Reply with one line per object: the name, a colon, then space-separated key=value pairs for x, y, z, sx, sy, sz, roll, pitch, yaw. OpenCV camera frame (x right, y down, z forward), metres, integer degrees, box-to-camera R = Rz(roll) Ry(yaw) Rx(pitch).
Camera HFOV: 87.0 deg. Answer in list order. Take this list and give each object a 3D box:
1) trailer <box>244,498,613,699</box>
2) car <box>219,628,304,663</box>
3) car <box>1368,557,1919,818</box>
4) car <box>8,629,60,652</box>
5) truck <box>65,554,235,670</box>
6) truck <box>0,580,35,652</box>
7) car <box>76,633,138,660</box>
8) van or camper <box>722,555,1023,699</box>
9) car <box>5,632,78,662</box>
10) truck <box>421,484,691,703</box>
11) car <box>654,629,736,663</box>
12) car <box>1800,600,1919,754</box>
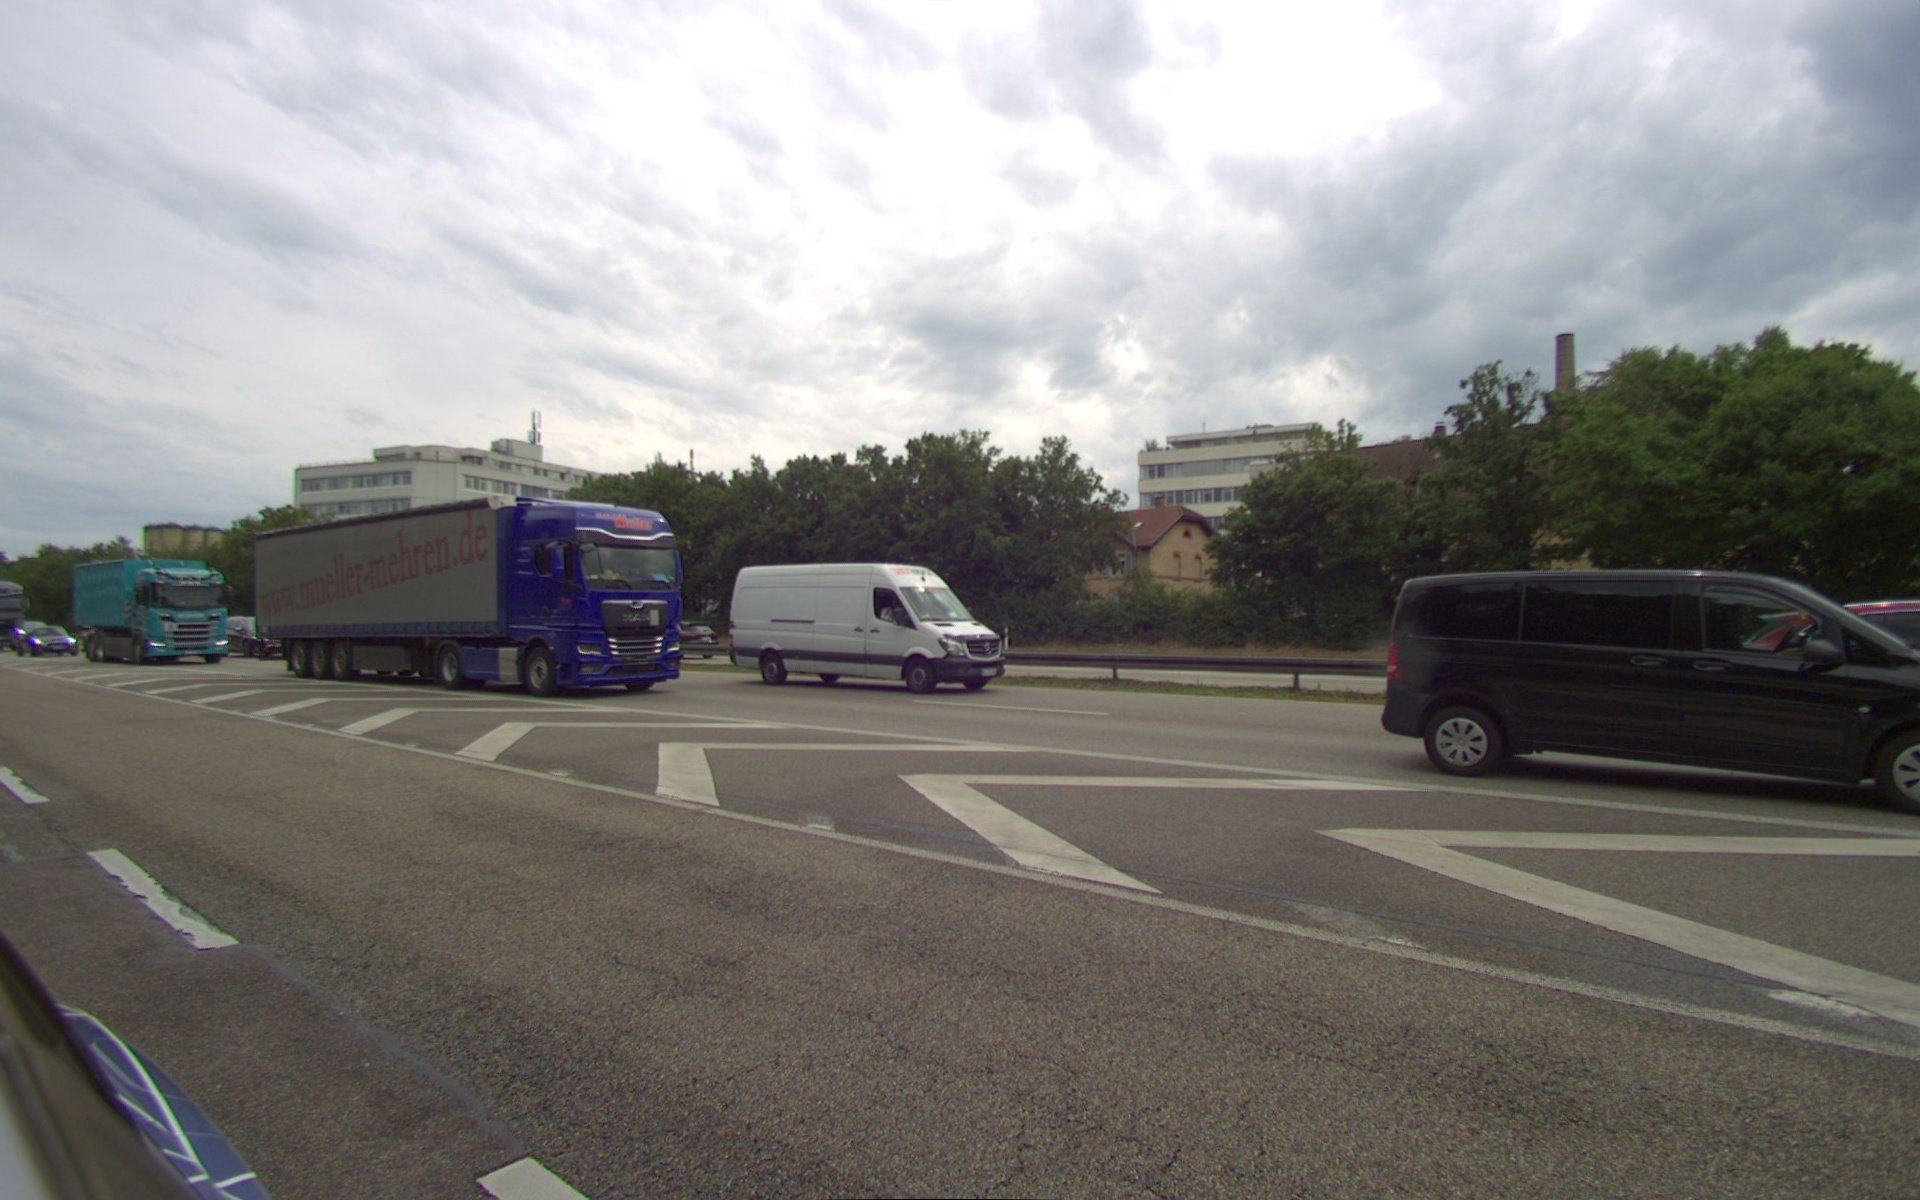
trailer: x=-13.920 y=0.126 z=25.422 sx=13.898 sy=4.005 sz=2.648 roll=-1 pitch=-2 yaw=38
car: x=-30.221 y=1.945 z=43.733 sx=3.994 sy=1.444 sz=1.875 roll=-1 pitch=-2 yaw=37
car: x=6.384 y=0.665 z=8.902 sx=4.807 sy=1.865 sz=1.973 roll=-2 pitch=-2 yaw=40
car: x=-60.949 y=2.634 z=66.614 sx=3.243 sy=1.494 sz=1.975 roll=-1 pitch=-2 yaw=37
truck: x=-31.562 y=0.543 z=39.235 sx=10.106 sy=4.031 sz=2.668 roll=-1 pitch=-2 yaw=37
truck: x=-58.249 y=1.015 z=59.507 sx=13.122 sy=3.955 sz=3.289 roll=-1 pitch=-2 yaw=37
car: x=-48.865 y=2.642 z=57.973 sx=4.049 sy=1.444 sz=1.875 roll=-1 pitch=-2 yaw=37
van or camper: x=-2.070 y=0.588 z=21.589 sx=6.948 sy=2.641 sz=2.029 roll=-1 pitch=-2 yaw=39
car: x=-43.461 y=2.204 z=47.876 sx=3.991 sy=1.332 sz=1.737 roll=-1 pitch=-2 yaw=35
truck: x=-8.606 y=-0.038 z=21.309 sx=5.918 sy=3.991 sz=2.643 roll=-1 pitch=-2 yaw=38
car: x=-11.499 y=1.982 z=43.872 sx=3.544 sy=1.401 sz=1.646 roll=-1 pitch=-2 yaw=37
car: x=11.236 y=0.791 z=10.380 sx=3.944 sy=1.579 sz=1.747 roll=-2 pitch=-2 yaw=42
